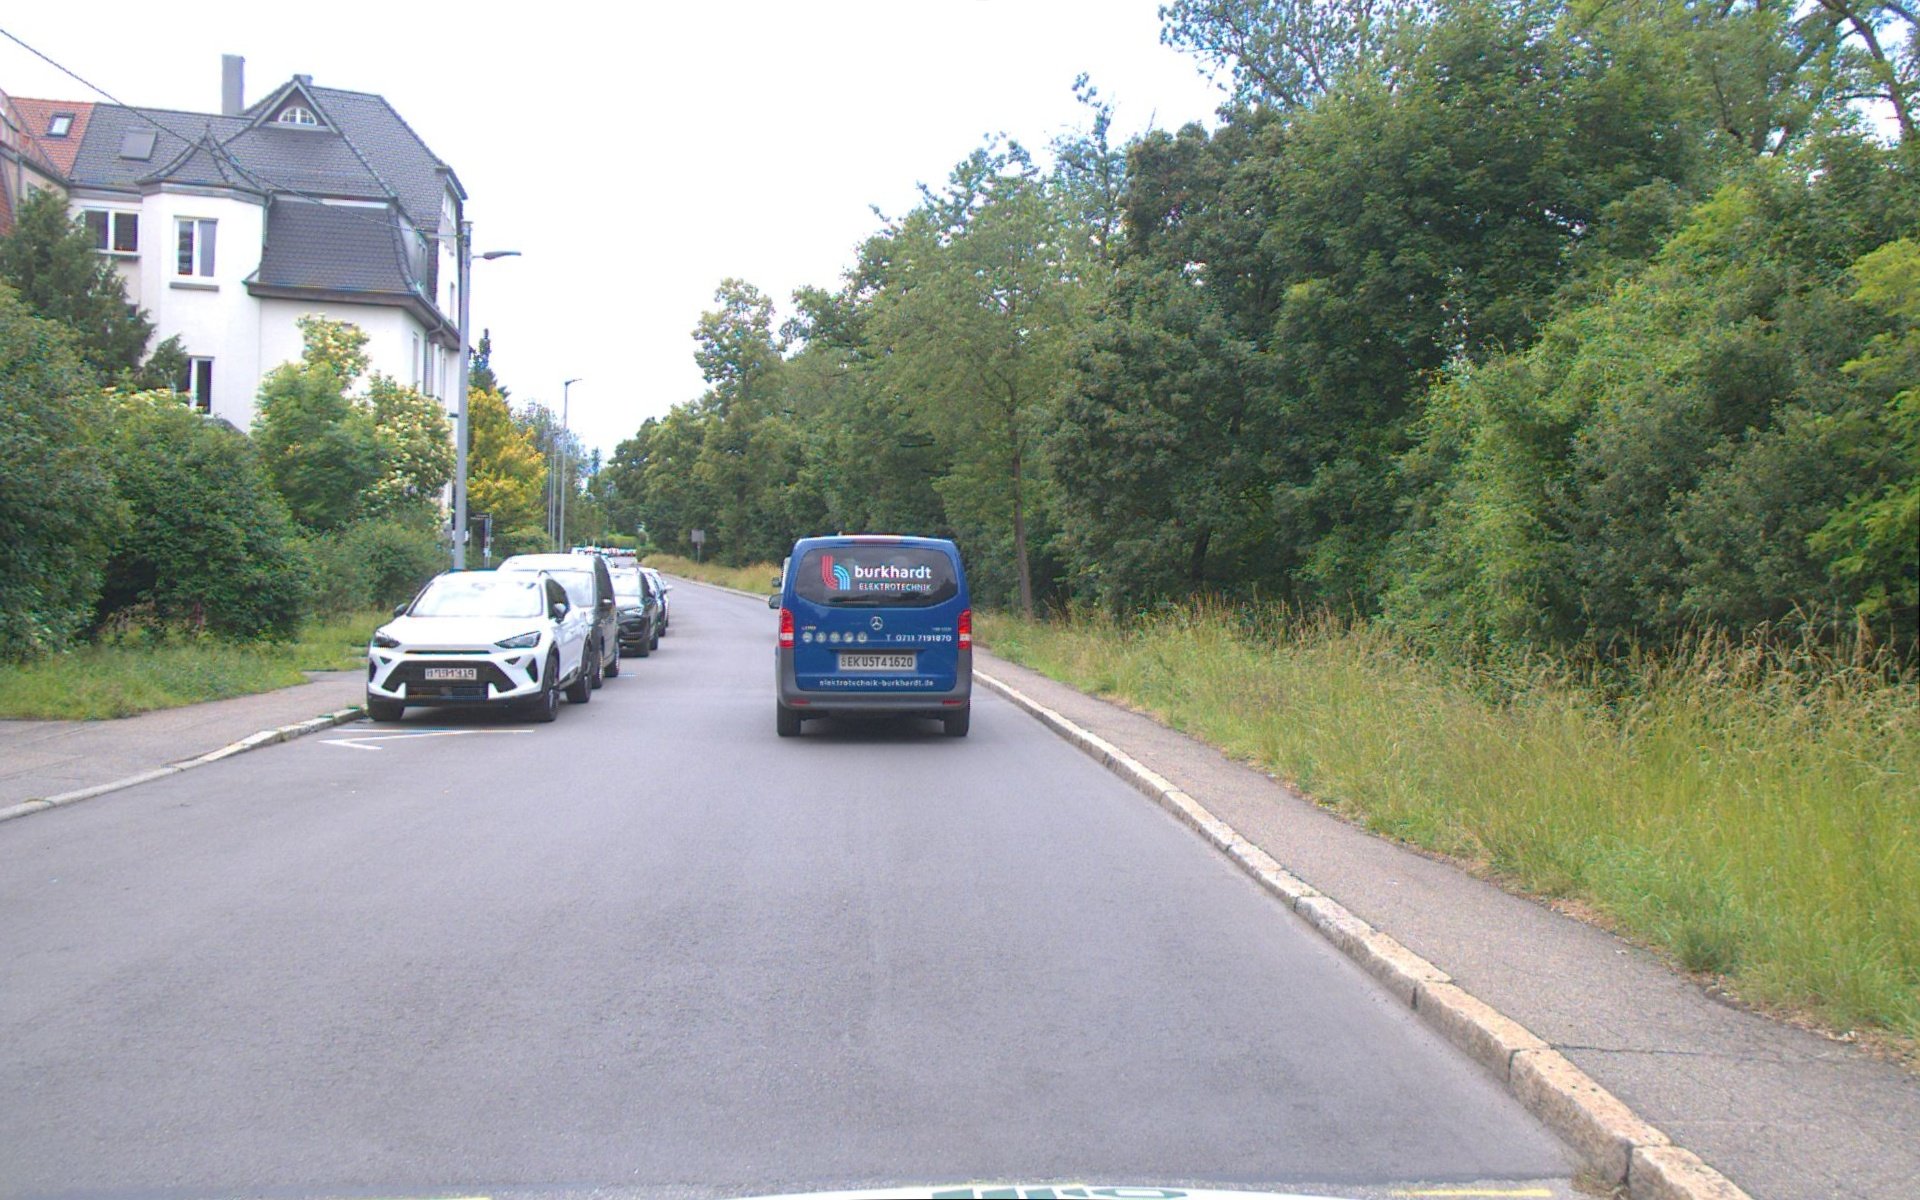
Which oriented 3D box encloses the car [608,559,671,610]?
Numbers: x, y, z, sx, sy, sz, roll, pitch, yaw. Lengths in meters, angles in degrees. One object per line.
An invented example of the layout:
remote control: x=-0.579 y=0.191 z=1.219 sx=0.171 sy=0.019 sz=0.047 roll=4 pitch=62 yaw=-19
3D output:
car: x=-10.026 y=-0.498 z=51.919 sx=1.577 sy=1.432 sz=3.850 roll=4 pitch=0 yaw=-7

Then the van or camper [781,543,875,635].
van or camper: x=-3.215 y=-0.338 z=39.452 sx=1.981 sy=1.990 sz=4.889 roll=-1 pitch=2 yaw=-8

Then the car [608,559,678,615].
car: x=-8.742 y=-0.366 z=45.860 sx=1.577 sy=1.365 sz=3.850 roll=4 pitch=0 yaw=-7

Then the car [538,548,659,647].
car: x=-6.859 y=-0.075 z=31.768 sx=1.781 sy=1.643 sz=4.217 roll=4 pitch=0 yaw=-7

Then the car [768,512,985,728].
car: x=-0.916 y=0.150 z=16.879 sx=1.876 sy=1.869 sz=4.290 roll=2 pitch=1 yaw=-5

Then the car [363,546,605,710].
car: x=-5.021 y=0.285 z=18.021 sx=1.691 sy=1.518 sz=4.408 roll=2 pitch=-1 yaw=-5

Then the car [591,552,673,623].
car: x=-7.943 y=-0.311 z=40.268 sx=1.577 sy=1.539 sz=3.850 roll=4 pitch=0 yaw=-7

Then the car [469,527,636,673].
car: x=-5.709 y=0.011 z=23.633 sx=1.711 sy=1.795 sz=4.406 roll=4 pitch=-1 yaw=-7
